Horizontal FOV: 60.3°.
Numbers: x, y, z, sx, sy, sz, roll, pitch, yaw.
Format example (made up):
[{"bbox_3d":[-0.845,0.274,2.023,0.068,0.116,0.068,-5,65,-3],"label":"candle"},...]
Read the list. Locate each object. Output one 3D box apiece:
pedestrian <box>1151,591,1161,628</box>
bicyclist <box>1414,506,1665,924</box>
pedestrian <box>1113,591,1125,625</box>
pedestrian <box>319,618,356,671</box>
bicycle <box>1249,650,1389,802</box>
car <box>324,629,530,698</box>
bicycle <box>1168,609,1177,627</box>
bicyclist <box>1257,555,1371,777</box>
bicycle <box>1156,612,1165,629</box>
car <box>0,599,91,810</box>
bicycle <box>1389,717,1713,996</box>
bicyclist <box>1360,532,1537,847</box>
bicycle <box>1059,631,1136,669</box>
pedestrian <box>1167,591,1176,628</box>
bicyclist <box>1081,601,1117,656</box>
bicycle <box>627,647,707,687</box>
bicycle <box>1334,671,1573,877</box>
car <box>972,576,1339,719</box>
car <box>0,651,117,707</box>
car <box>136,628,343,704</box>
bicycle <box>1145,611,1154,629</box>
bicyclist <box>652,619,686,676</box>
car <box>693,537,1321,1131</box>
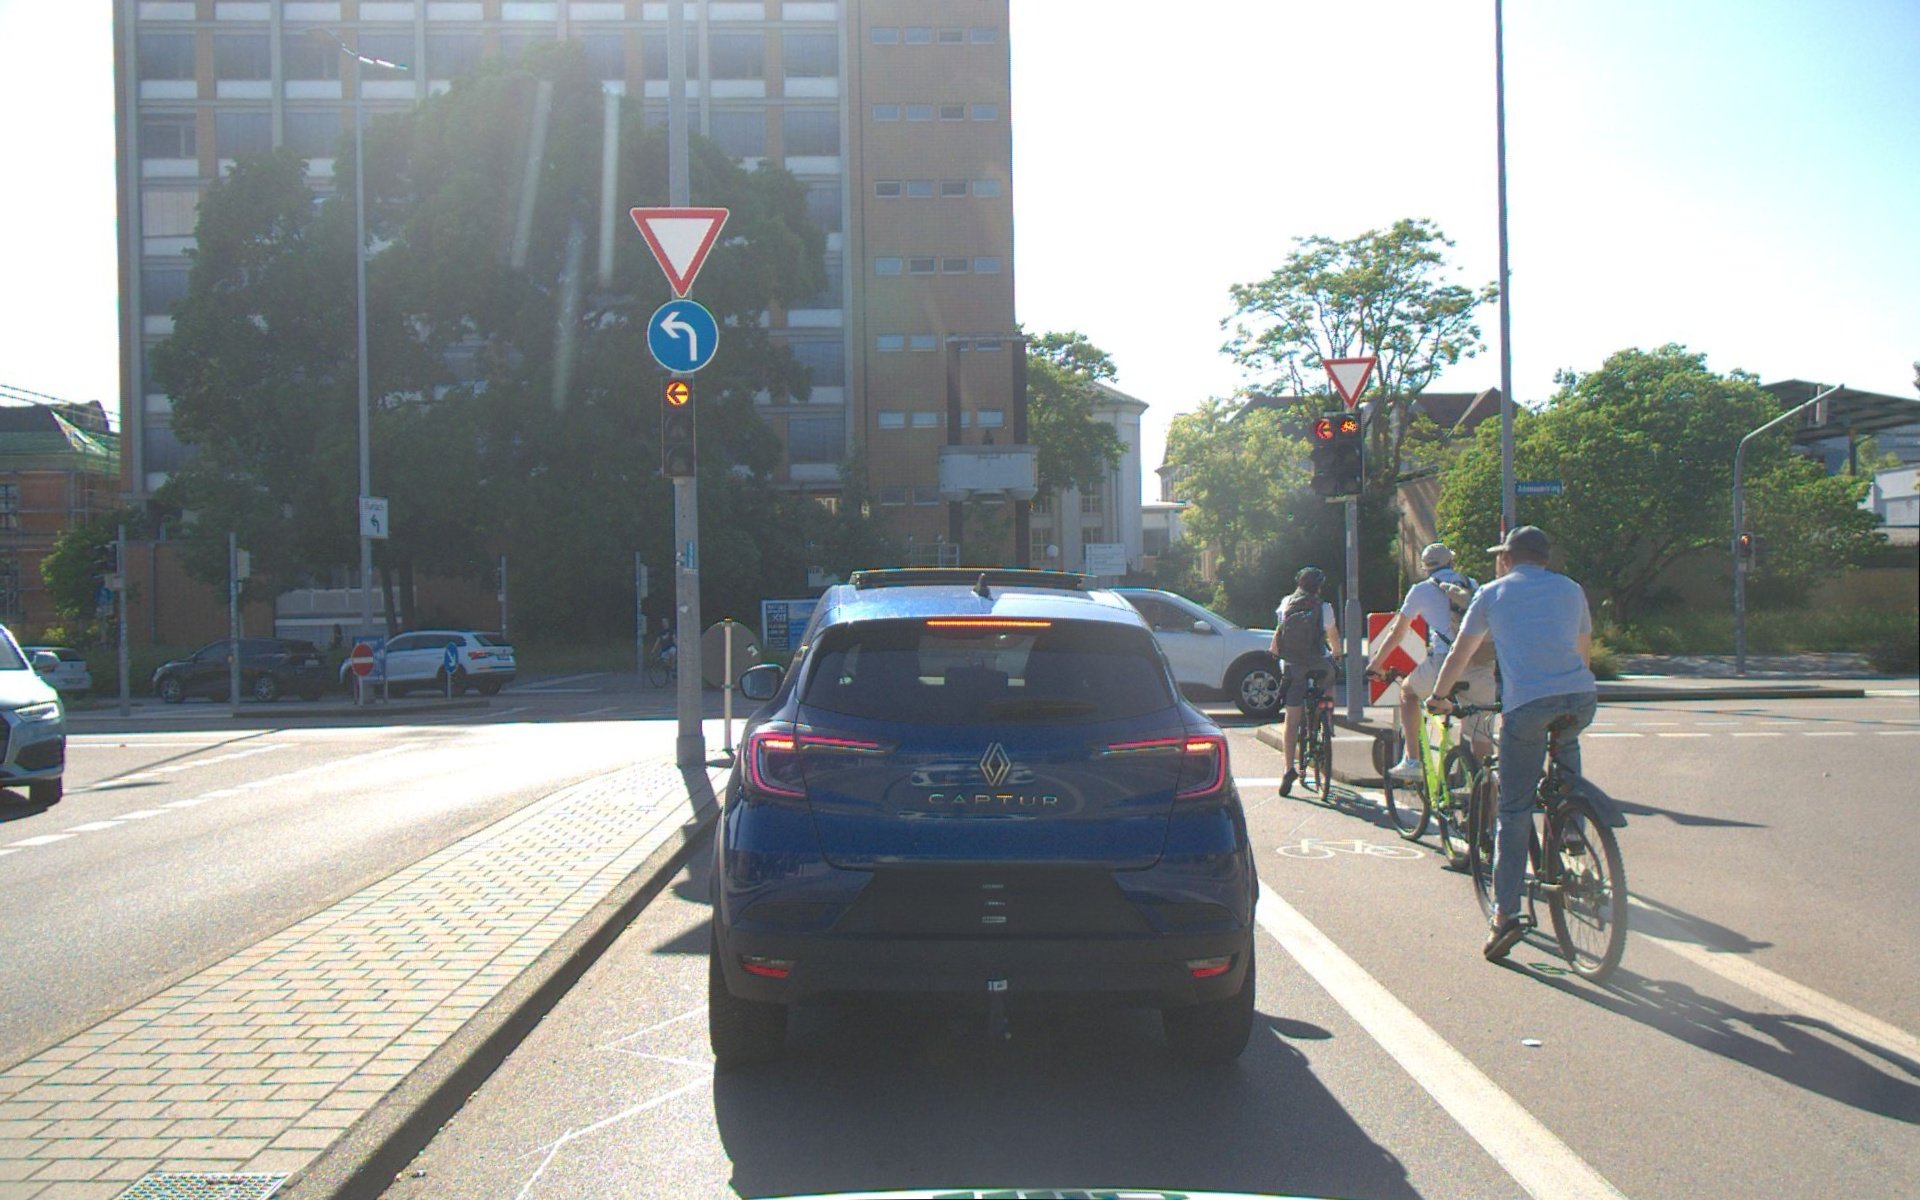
[{"bbox_3d":[10.797,0.519,91.192,0.465,2.049,0.523,-1,0,5],"label":"pedestrian"},{"bbox_3d":[2.506,0.471,7.267,0.736,1.698,1.016,1,0,0],"label":"bicyclist"},{"bbox_3d":[8.989,0.447,93.720,0.610,1.888,0.563,-1,0,3],"label":"pedestrian"},{"bbox_3d":[-19.501,1.401,51.819,0.842,1.598,0.559,-4,0,16],"label":"pedestrian"},{"bbox_3d":[2.759,0.935,12.920,0.723,1.012,2.174,1,0,3],"label":"bicycle"},{"bbox_3d":[-13.558,1.602,42.100,4.721,1.660,1.845,-1,0,14],"label":"car"},{"bbox_3d":[12.156,1.026,94.564,0.397,0.990,1.684,1,0,3],"label":"bicycle"},{"bbox_3d":[2.758,0.500,12.971,0.711,1.657,0.969,1,0,3],"label":"bicyclist"},{"bbox_3d":[11.404,1.158,94.185,0.397,0.990,1.684,1,0,3],"label":"bicycle"},{"bbox_3d":[-8.966,0.885,14.270,1.776,1.609,4.197,-3,0,-39],"label":"car"},{"bbox_3d":[2.501,1.044,7.270,0.725,0.911,1.978,1,0,0],"label":"bicycle"},{"bbox_3d":[2.881,0.508,9.838,0.633,1.769,1.065,1,0,-6],"label":"bicyclist"},{"bbox_3d":[3.705,1.340,44.509,2.032,0.981,0.599,-1,0,7],"label":"bicycle"},{"bbox_3d":[11.827,0.542,92.558,0.465,2.049,0.468,-1,0,5],"label":"pedestrian"},{"bbox_3d":[3.747,0.753,44.497,0.916,1.454,0.599,-1,0,7],"label":"bicyclist"},{"bbox_3d":[-7.720,1.764,43.615,1.982,0.981,0.593,-1,0,-28],"label":"bicycle"},{"bbox_3d":[2.869,0.976,9.841,0.646,1.020,1.967,1,0,-6],"label":"bicycle"},{"bbox_3d":[2.614,0.655,21.865,4.586,1.647,1.845,-3,-3,12],"label":"car"},{"bbox_3d":[-25.195,2.150,45.109,3.755,1.460,1.743,-1,-2,17],"label":"car"},{"bbox_3d":[-17.252,1.568,39.656,4.279,1.660,1.845,-2,-1,14],"label":"car"},{"bbox_3d":[10.795,1.148,94.219,0.397,0.990,1.684,1,0,3],"label":"bicycle"},{"bbox_3d":[-7.673,1.241,43.642,0.728,1.466,0.593,-1,0,-27],"label":"bicyclist"},{"bbox_3d":[0.059,0.666,6.678,1.767,1.660,3.998,1,0,-3],"label":"car"}]
